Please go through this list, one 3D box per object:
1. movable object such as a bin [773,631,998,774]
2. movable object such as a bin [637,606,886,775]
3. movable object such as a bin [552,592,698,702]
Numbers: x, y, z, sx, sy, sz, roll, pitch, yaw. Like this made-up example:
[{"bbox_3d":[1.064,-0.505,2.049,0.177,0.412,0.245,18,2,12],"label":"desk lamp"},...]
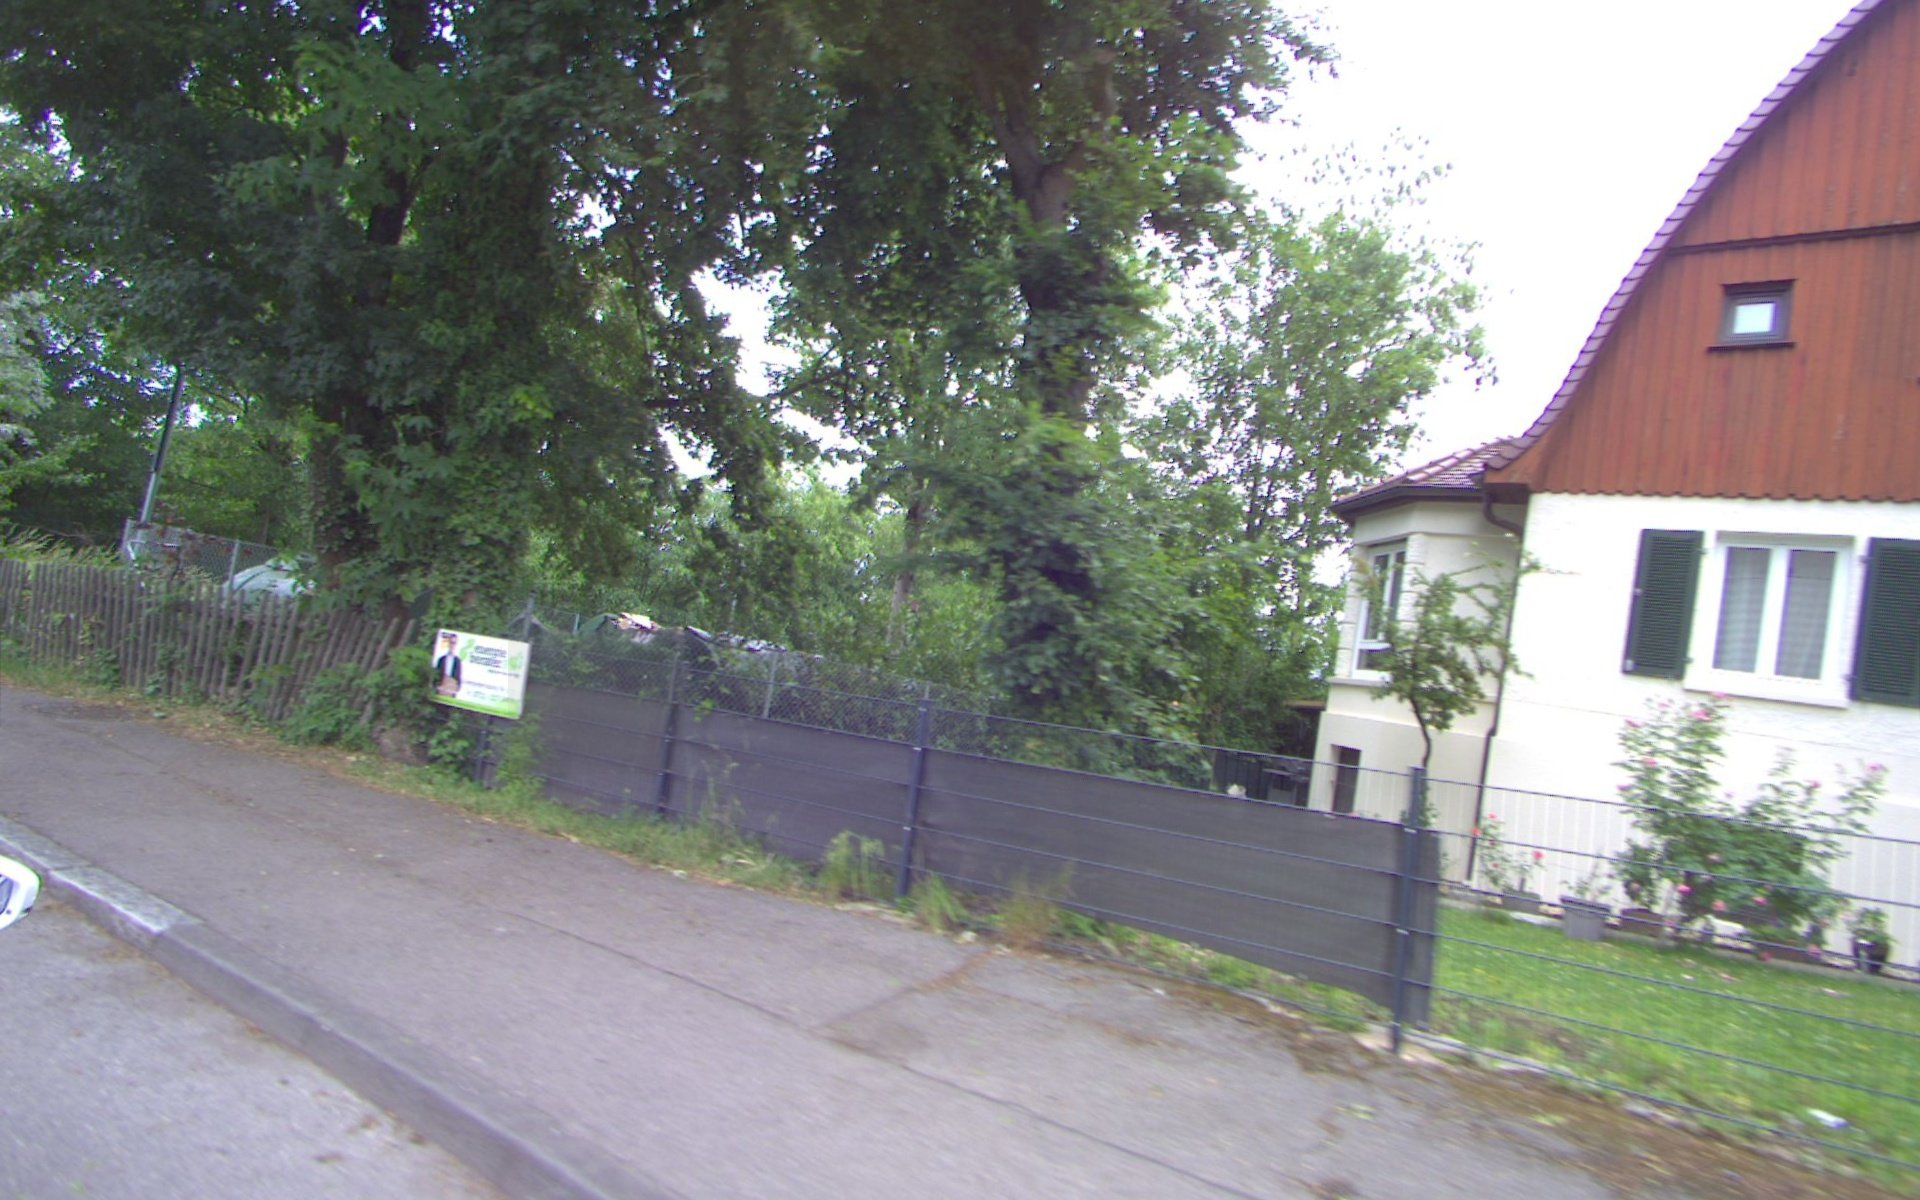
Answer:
[{"bbox_3d":[-1.060,1.550,15.143,2.172,1.732,2.499,5,-4,31],"label":"movable object such as a bin"},{"bbox_3d":[-2.552,1.187,13.173,2.172,1.806,2.109,5,-4,31],"label":"movable object such as a bin"},{"bbox_3d":[-5.611,0.803,16.901,1.646,1.564,1.426,6,-3,28],"label":"movable object such as a bin"}]
